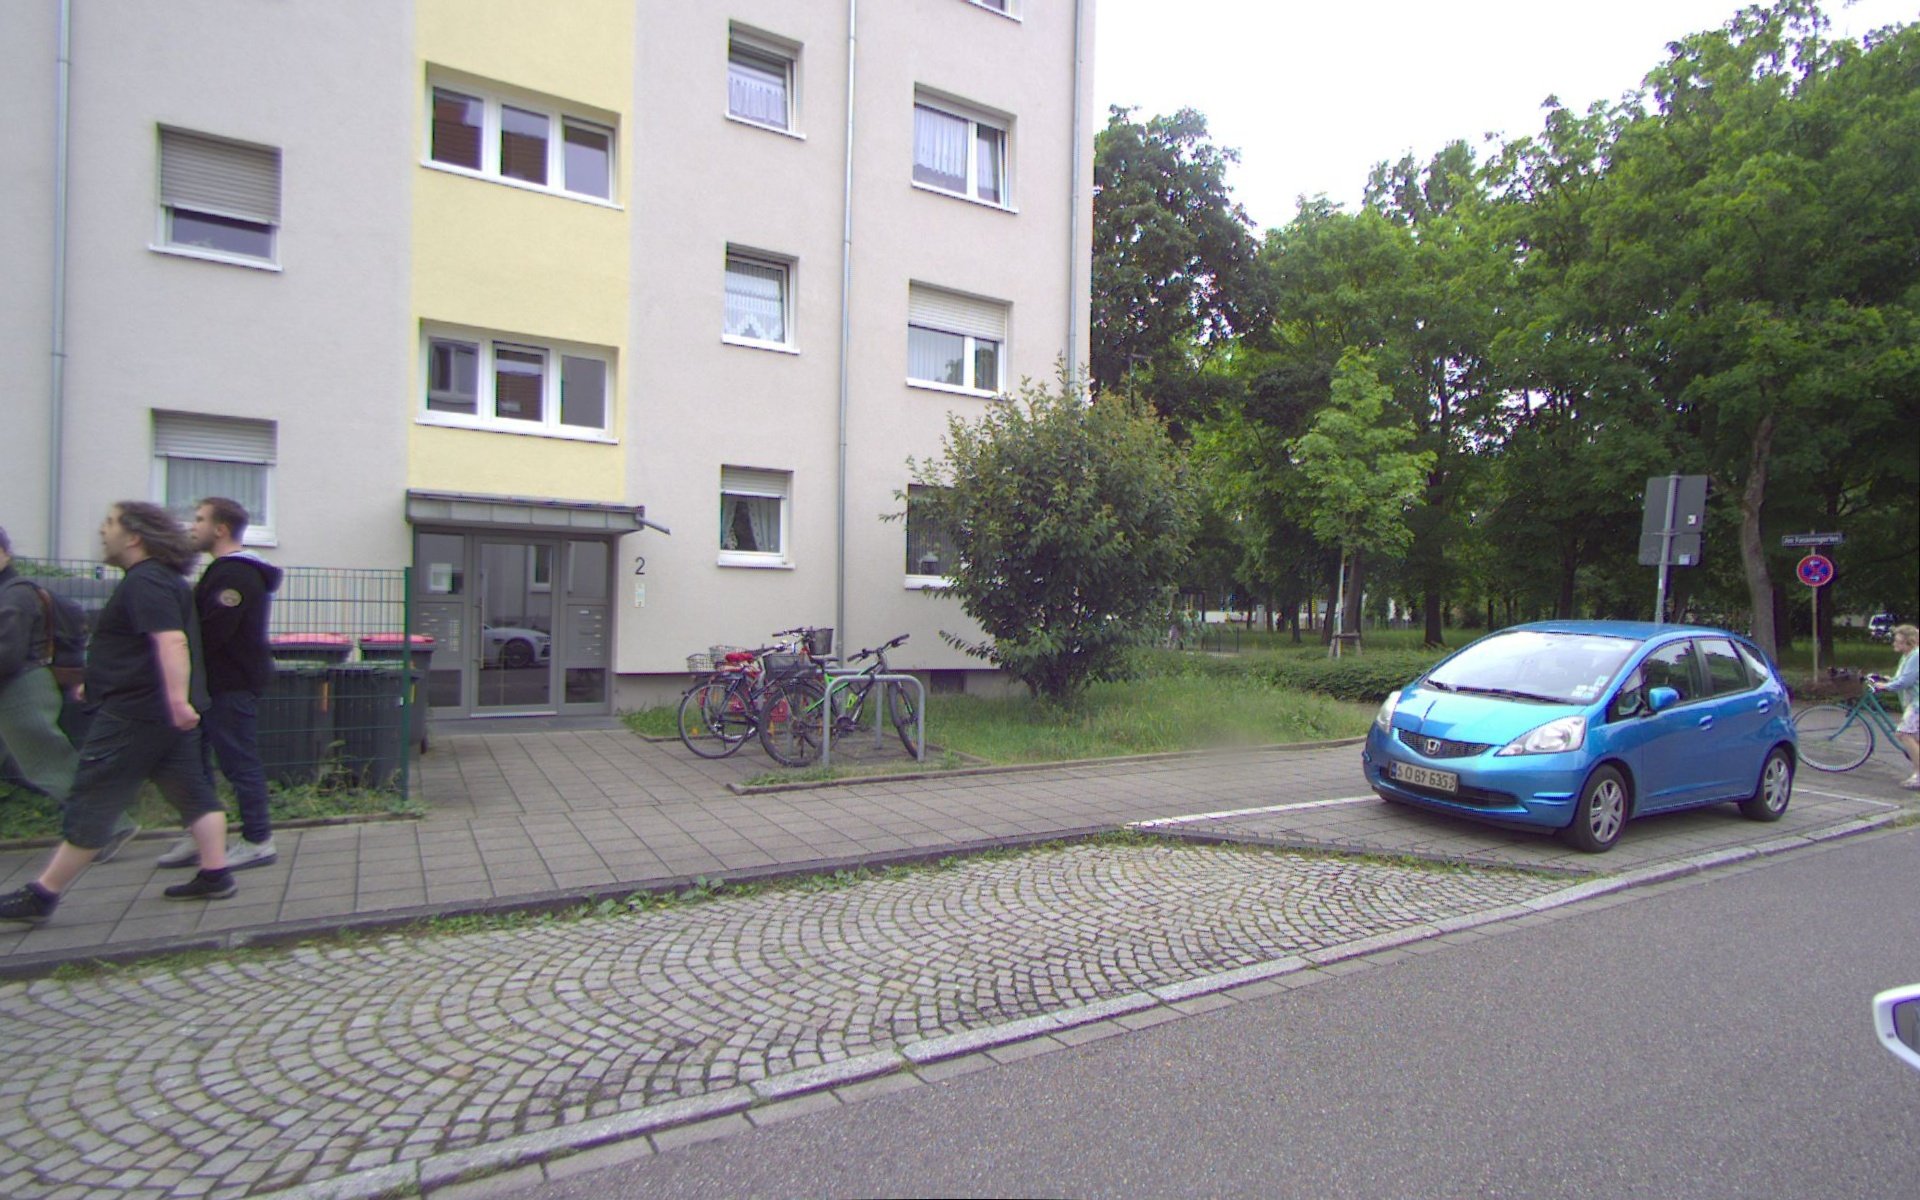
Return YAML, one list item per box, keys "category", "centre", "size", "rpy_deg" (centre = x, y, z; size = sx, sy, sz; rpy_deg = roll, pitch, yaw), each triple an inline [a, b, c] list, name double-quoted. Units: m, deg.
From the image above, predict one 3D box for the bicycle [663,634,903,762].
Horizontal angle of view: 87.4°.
- category: "bicycle"
  centre: [-1.646, 0.875, 9.507]
  size: [2.149, 1.085, 0.654]
  rpy_deg: [1, 0, -30]

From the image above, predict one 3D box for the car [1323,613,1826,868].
- category: "car"
  centre: [4.904, 0.909, 7.915]
  size: [3.911, 1.482, 1.721]
  rpy_deg: [1, 2, -31]

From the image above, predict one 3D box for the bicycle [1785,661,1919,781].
- category: "bicycle"
  centre: [9.708, 1.245, 10.339]
  size: [0.533, 1.134, 1.798]
  rpy_deg: [1, 0, -38]

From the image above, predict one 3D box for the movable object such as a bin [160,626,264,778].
- category: "movable object such as a bin"
  centre: [-5.989, 0.781, 8.075]
  size: [0.591, 1.131, 0.837]
  rpy_deg: [1, 0, -33]

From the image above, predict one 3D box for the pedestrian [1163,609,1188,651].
- category: "pedestrian"
  centre: [8.381, 1.153, 39.070]
  size: [0.648, 1.604, 0.693]
  rpy_deg: [0, 0, -28]

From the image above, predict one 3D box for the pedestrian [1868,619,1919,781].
- category: "pedestrian"
  centre: [9.467, 0.981, 9.986]
  size: [0.444, 1.570, 0.562]
  rpy_deg: [1, 0, -37]

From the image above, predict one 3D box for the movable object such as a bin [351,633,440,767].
- category: "movable object such as a bin"
  centre: [-4.900, 0.832, 8.704]
  size: [0.627, 1.065, 0.859]
  rpy_deg: [1, 0, -32]

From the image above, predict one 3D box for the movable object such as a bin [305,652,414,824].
- category: "movable object such as a bin"
  centre: [-3.984, 0.885, 6.677]
  size: [0.591, 1.047, 0.534]
  rpy_deg: [1, 0, -32]

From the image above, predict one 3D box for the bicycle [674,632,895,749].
- category: "bicycle"
  centre: [-1.785, 0.884, 10.374]
  size: [2.149, 1.085, 0.654]
  rpy_deg: [1, 0, -30]

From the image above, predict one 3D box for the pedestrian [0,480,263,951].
- category: "pedestrian"
  centre: [-3.719, 0.461, 4.448]
  size: [0.963, 1.888, 0.637]
  rpy_deg: [1, 2, -31]

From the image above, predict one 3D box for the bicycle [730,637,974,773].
- category: "bicycle"
  centre: [-0.943, 0.888, 9.042]
  size: [2.097, 1.082, 0.654]
  rpy_deg: [1, 0, -30]

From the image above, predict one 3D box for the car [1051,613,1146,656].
- category: "car"
  centre: [4.982, 1.217, 36.427]
  size: [1.549, 1.456, 3.513]
  rpy_deg: [1, 0, -31]

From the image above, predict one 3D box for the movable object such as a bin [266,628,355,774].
- category: "movable object such as a bin"
  centre: [-5.438, 0.808, 8.434]
  size: [0.591, 1.131, 0.837]
  rpy_deg: [1, 0, -33]

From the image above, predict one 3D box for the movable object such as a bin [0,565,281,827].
- category: "movable object such as a bin"
  centre: [-5.378, 0.529, 6.384]
  size: [1.652, 1.440, 1.581]
  rpy_deg: [1, 0, -31]

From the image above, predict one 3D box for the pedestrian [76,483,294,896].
- category: "pedestrian"
  centre: [-3.860, 0.414, 5.074]
  size: [0.754, 1.879, 0.703]
  rpy_deg: [1, 0, -31]

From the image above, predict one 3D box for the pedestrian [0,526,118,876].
- category: "pedestrian"
  centre: [-4.823, 0.482, 5.039]
  size: [0.794, 1.679, 0.611]
  rpy_deg: [1, 0, -31]

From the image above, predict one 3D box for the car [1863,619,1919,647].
- category: "car"
  centre: [57.078, 1.992, 61.380]
  size: [3.959, 1.639, 1.906]
  rpy_deg: [1, -1, -34]
